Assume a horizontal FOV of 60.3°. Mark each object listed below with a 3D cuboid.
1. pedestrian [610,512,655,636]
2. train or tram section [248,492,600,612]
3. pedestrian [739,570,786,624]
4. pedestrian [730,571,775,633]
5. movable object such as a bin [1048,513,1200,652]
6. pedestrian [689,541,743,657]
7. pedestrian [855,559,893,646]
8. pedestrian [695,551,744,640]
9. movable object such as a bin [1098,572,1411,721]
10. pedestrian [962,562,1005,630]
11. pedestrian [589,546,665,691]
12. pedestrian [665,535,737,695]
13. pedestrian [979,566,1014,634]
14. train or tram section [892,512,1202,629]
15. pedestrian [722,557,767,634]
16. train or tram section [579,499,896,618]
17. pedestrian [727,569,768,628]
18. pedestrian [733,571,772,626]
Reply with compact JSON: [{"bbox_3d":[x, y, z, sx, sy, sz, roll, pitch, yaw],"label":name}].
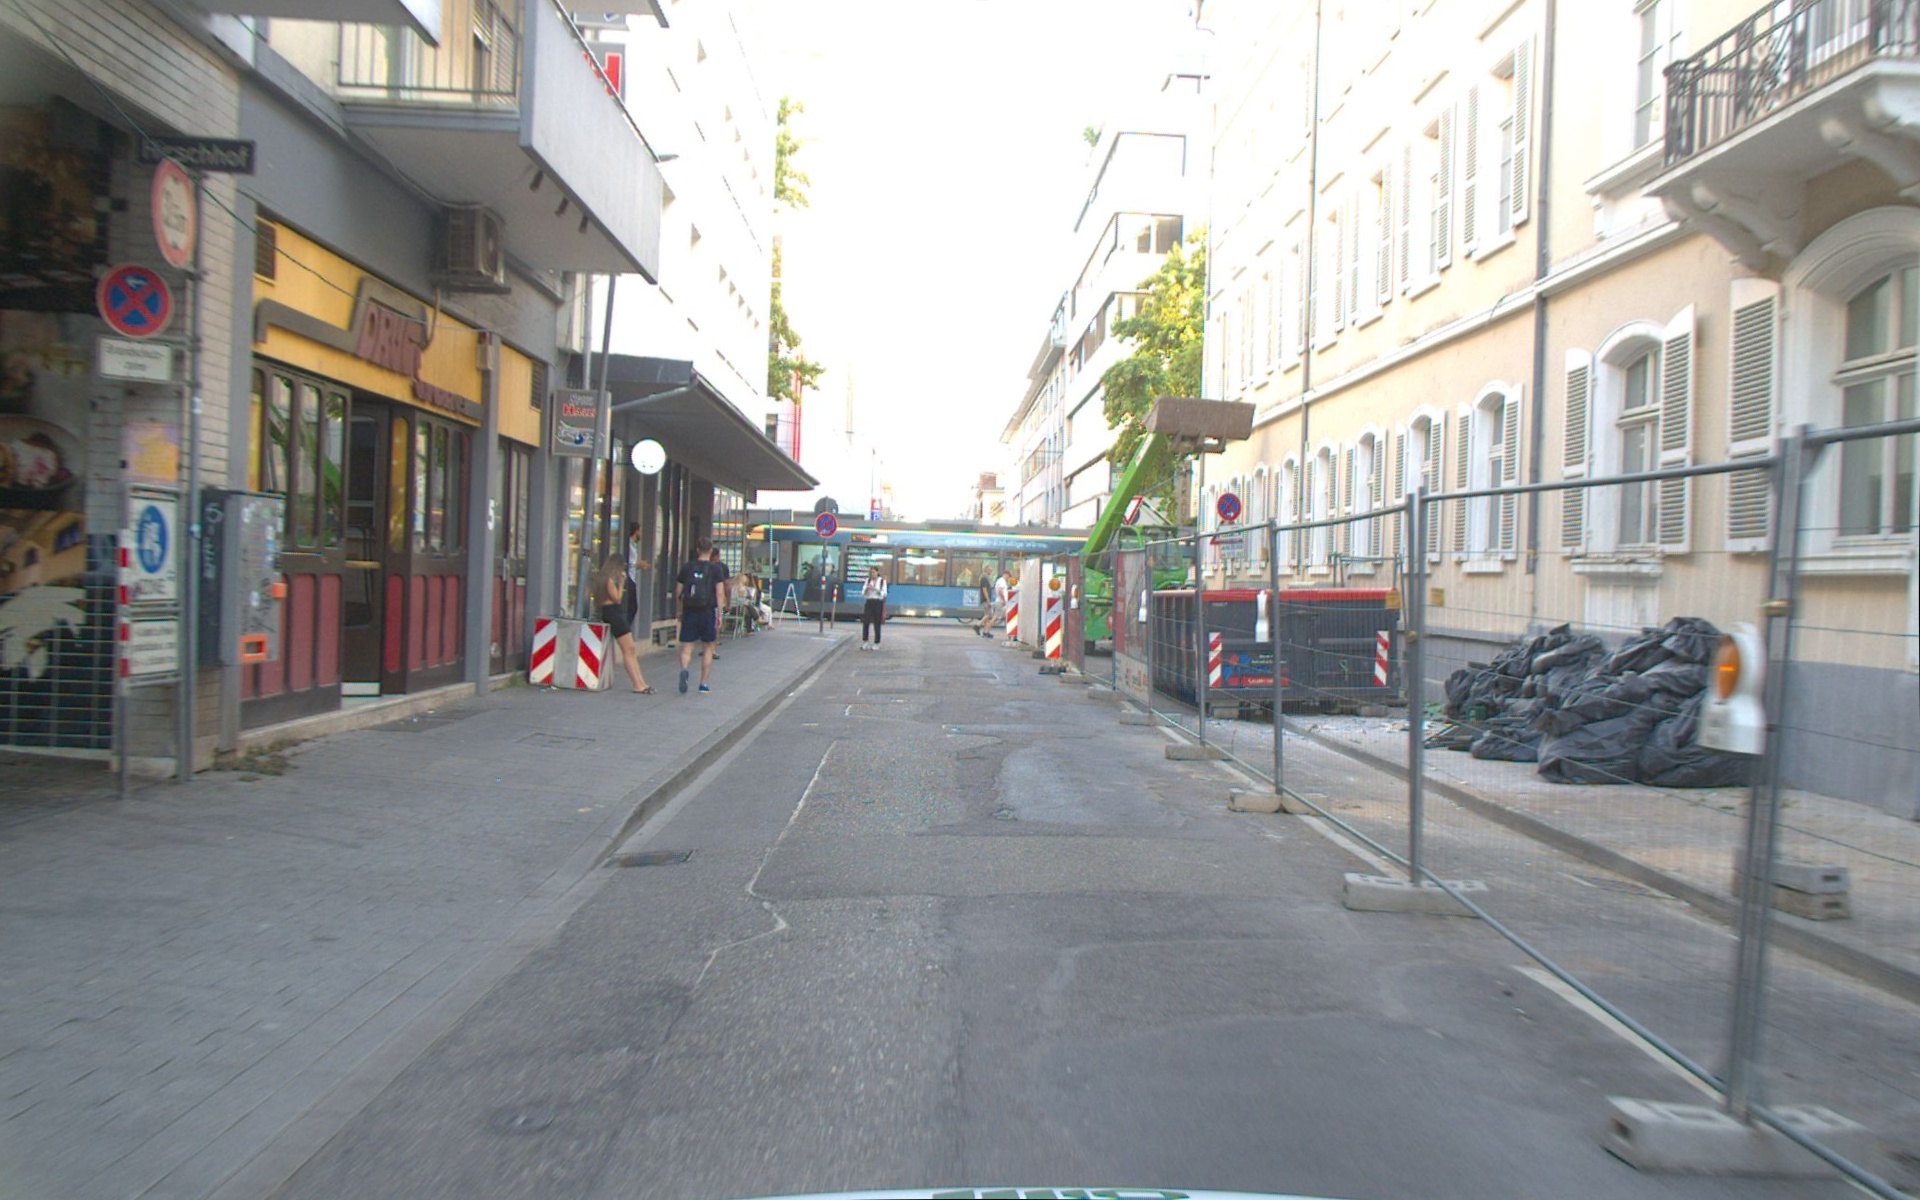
[{"bbox_3d":[-4.923,-0.389,24.881,0.533,1.842,0.613,1,0,-2],"label":"pedestrian"},{"bbox_3d":[-17.675,-1.552,55.092,10.592,3.585,3.012,2,0,-2],"label":"train or tram section"},{"bbox_3d":[-4.701,-0.073,39.369,0.692,1.240,0.839,3,1,36],"label":"pedestrian"},{"bbox_3d":[-4.551,0.042,36.249,0.695,1.308,0.854,2,1,-25],"label":"pedestrian"},{"bbox_3d":[3.662,-0.426,38.128,2.583,2.922,5.561,1,1,-4],"label":"movable object such as a bin"},{"bbox_3d":[-3.946,-0.026,26.773,0.690,1.813,0.932,2,0,-2],"label":"pedestrian"},{"bbox_3d":[-1.770,0.051,34.054,0.741,1.770,0.784,0,1,-2],"label":"pedestrian"},{"bbox_3d":[-4.497,-0.087,30.924,0.649,1.596,0.633,3,1,-27],"label":"pedestrian"},{"bbox_3d":[3.867,0.502,23.594,2.833,1.693,7.291,1,1,-3],"label":"movable object such as a bin"},{"bbox_3d":[0.625,-0.112,44.397,1.118,1.770,0.759,1,1,0],"label":"pedestrian"},{"bbox_3d":[-3.822,0.205,19.028,0.695,1.605,0.613,3,0,-5],"label":"pedestrian"},{"bbox_3d":[-3.048,0.167,19.523,0.700,1.842,0.932,1,1,-1],"label":"pedestrian"},{"bbox_3d":[0.954,-0.005,43.459,0.886,1.770,0.759,1,1,0],"label":"pedestrian"},{"bbox_3d":[2.834,-0.988,55.874,10.128,3.585,3.025,1,0,-2],"label":"train or tram section"},{"bbox_3d":[-4.577,-0.096,35.179,0.689,1.574,0.861,2,0,6],"label":"pedestrian"},{"bbox_3d":[-7.295,-1.330,55.490,10.158,3.585,3.016,2,0,-2],"label":"train or tram section"},{"bbox_3d":[-4.775,-0.043,37.204,0.689,1.261,0.778,5,0,2],"label":"pedestrian"},{"bbox_3d":[-4.764,-0.038,38.070,0.689,1.216,0.691,5,1,1],"label":"pedestrian"}]
